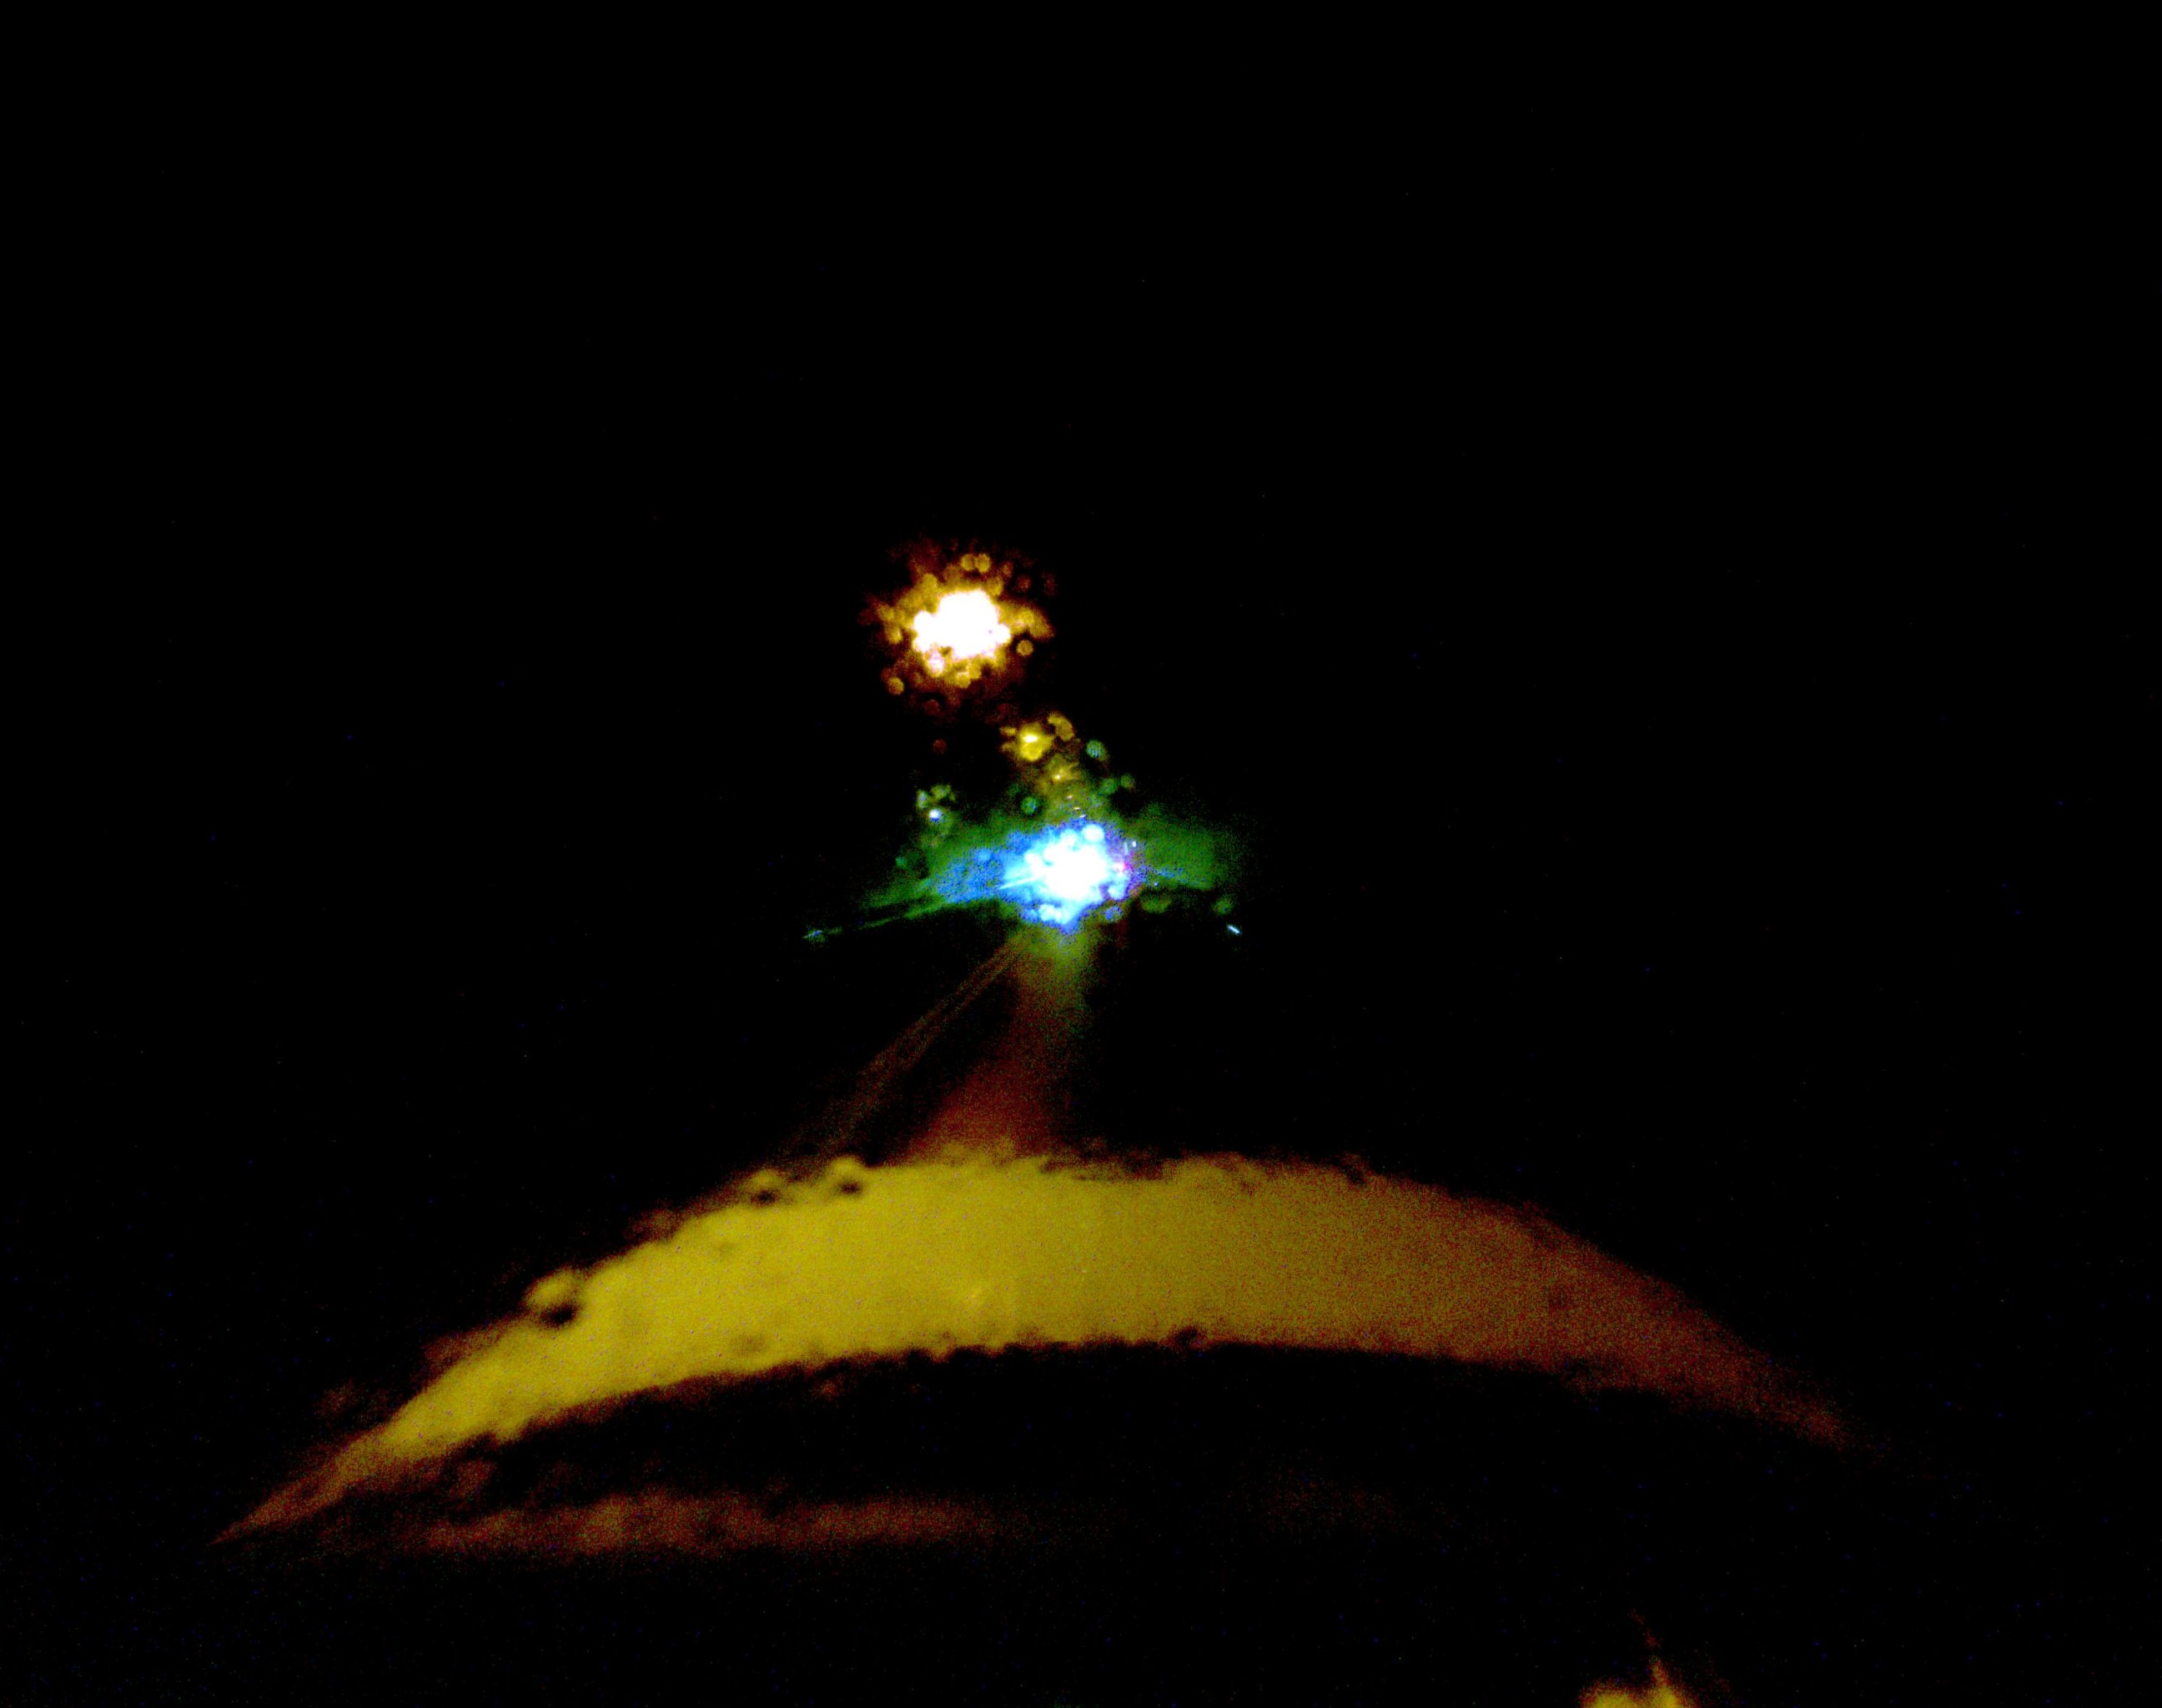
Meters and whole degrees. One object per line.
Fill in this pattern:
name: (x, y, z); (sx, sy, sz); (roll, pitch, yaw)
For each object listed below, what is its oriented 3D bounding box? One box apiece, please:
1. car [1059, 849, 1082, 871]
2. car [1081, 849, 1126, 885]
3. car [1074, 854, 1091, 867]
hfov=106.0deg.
car: (-0.943, 0.550, 75.747); (1.986, 2.013, 4.002); (-1, 0, 2)
car: (1.112, 0.602, 39.873); (2.082, 1.662, 4.002); (-1, 0, 2)
car: (0.190, 0.812, 105.906); (1.986, 1.651, 4.002); (-1, 0, 2)
